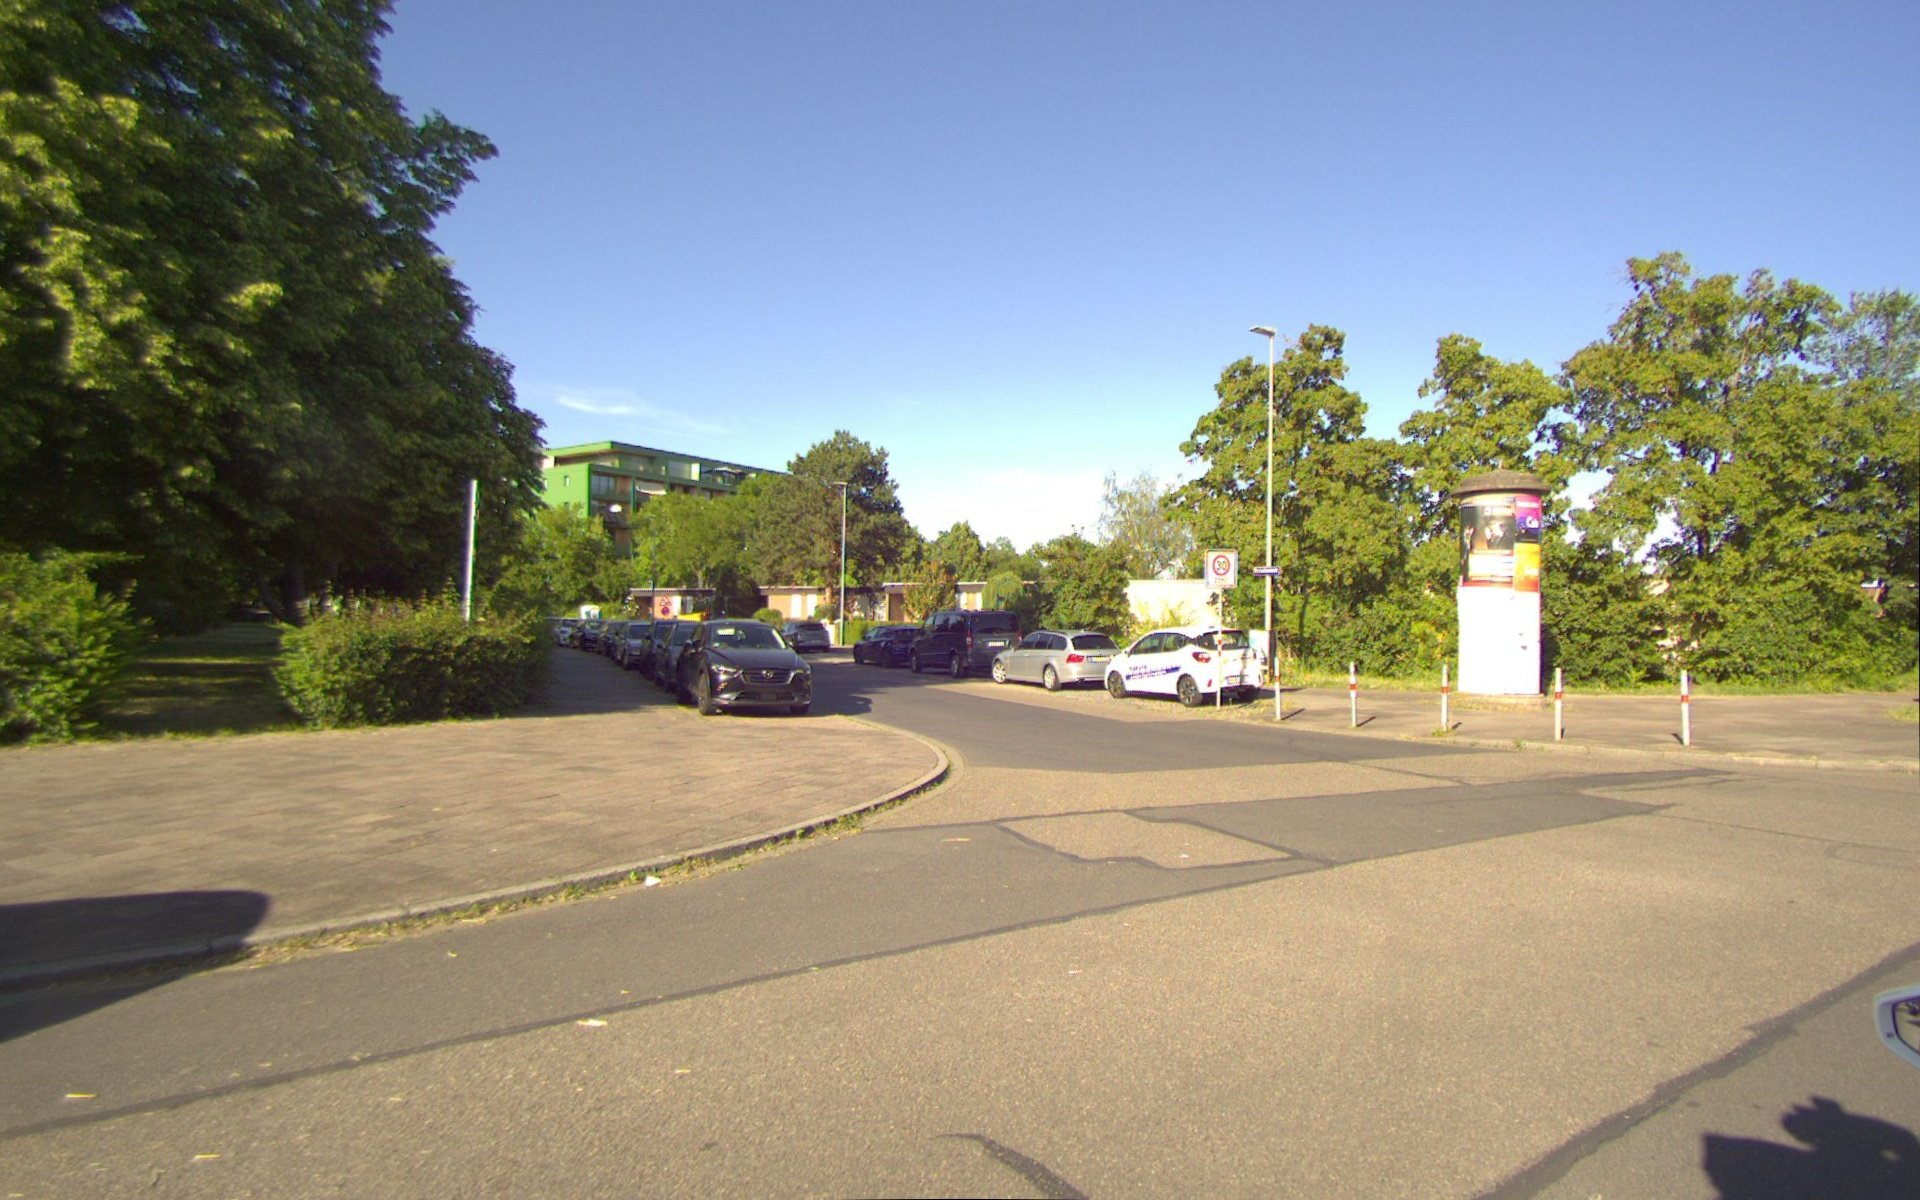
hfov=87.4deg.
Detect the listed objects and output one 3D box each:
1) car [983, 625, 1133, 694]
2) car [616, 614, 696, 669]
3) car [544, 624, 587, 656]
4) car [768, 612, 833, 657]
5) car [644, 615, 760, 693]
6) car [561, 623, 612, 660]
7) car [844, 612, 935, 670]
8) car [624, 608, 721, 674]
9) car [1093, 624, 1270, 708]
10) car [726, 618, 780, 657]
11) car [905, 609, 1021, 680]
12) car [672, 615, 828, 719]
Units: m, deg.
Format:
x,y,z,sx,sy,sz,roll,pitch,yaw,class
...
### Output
x,y,z,sx,sy,sz,roll,pitch,yaw,class
2.344,1.440,25.223,1.715,1.481,4.316,-3,0,-26,car
-9.526,1.290,31.303,1.723,1.563,4.073,2,-3,-26,car
-20.084,2.026,51.069,1.723,1.563,4.073,2,-3,-26,car
-7.446,1.587,46.549,1.715,1.879,4.316,-3,0,-26,car
-5.793,1.172,22.259,1.723,1.563,3.902,2,-3,-26,car
-16.963,1.878,45.503,1.723,1.563,4.073,2,-3,-26,car
-2.599,1.447,36.155,1.715,1.879,4.316,-3,0,-26,car
-7.530,1.065,26.051,1.723,1.563,4.073,2,-3,-26,car
4.465,1.299,20.747,1.715,1.481,3.507,-3,0,-26,car
-11.113,2.000,53.771,1.715,1.879,4.316,-3,0,-26,car
0.009,1.304,30.315,1.715,1.879,4.316,-3,0,-26,car
-3.734,1.100,17.353,1.723,1.563,3.902,2,-3,-26,car
